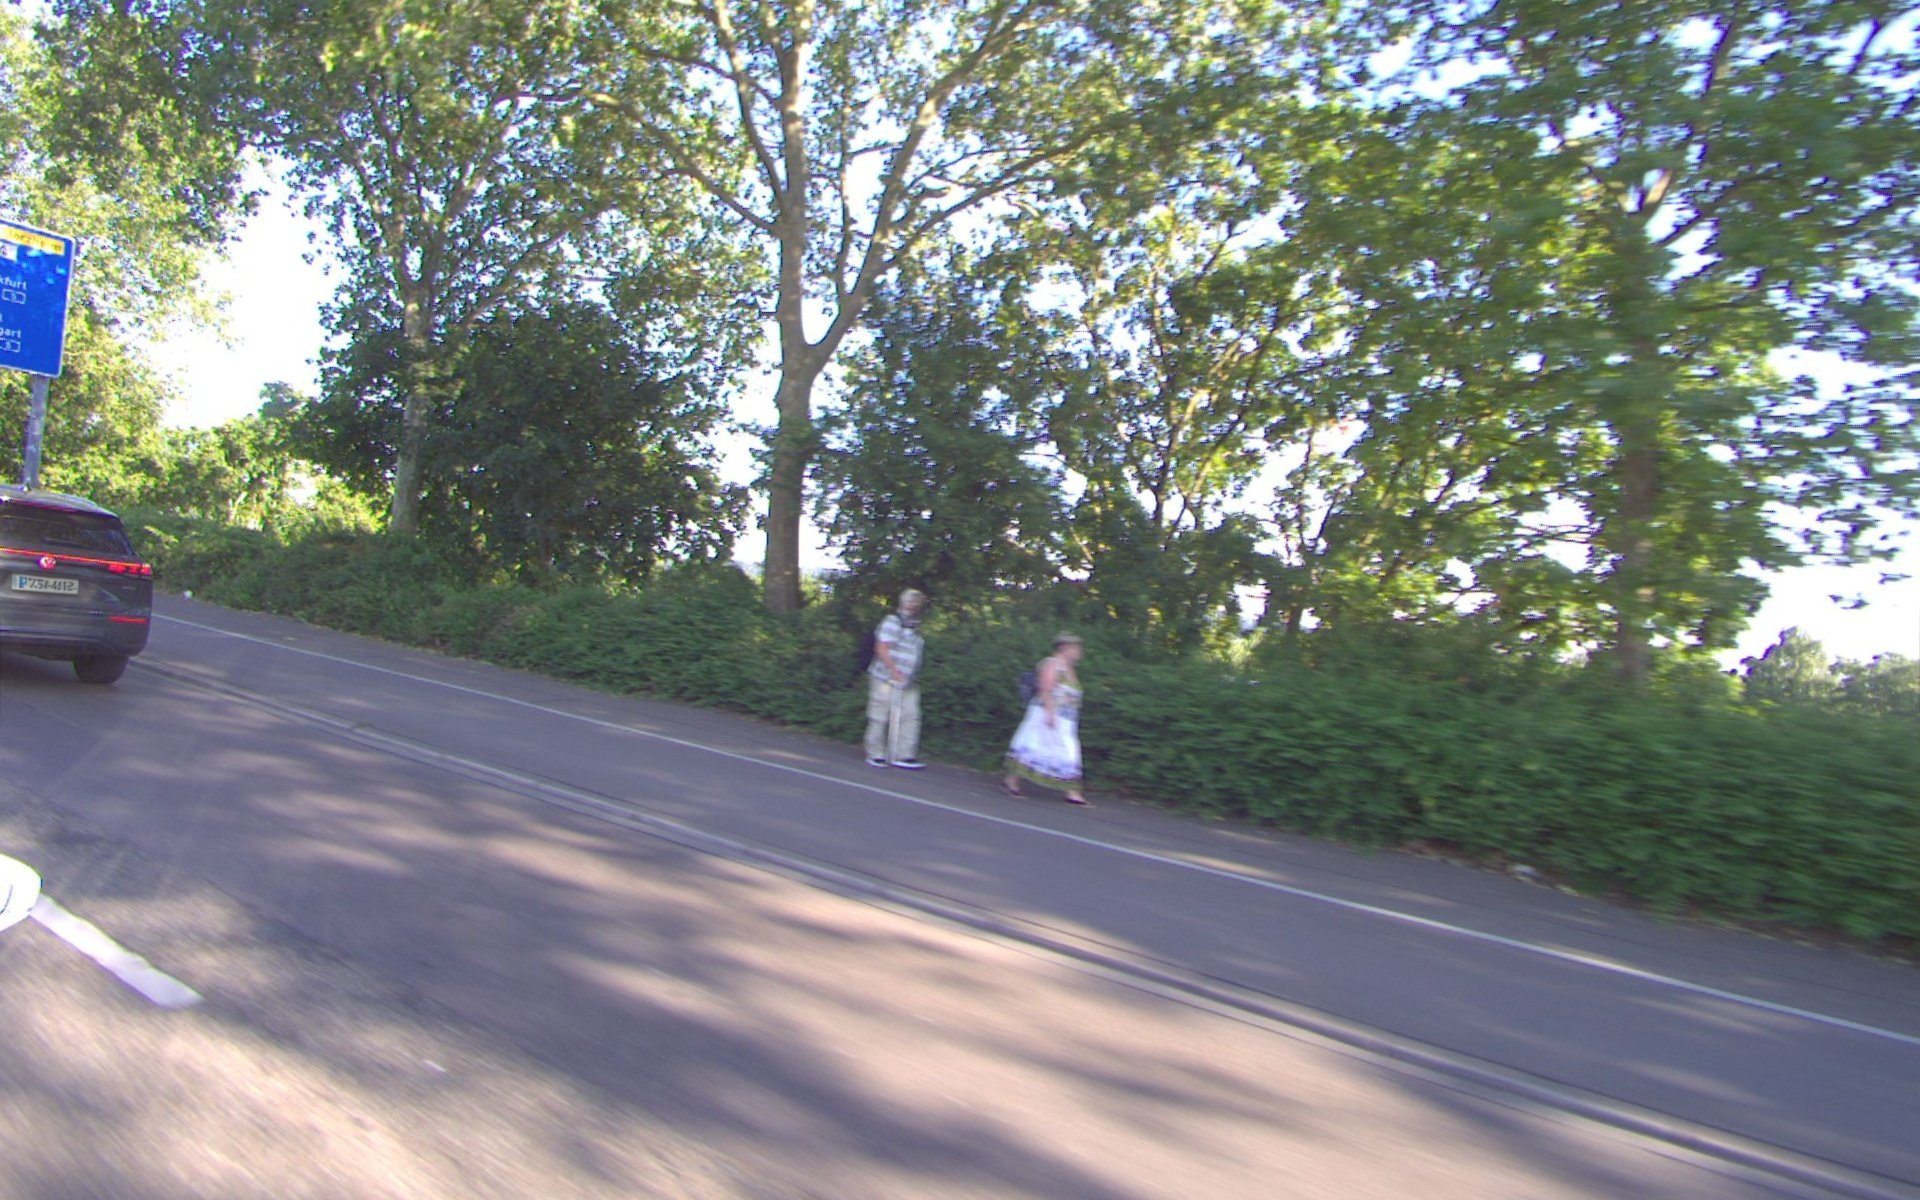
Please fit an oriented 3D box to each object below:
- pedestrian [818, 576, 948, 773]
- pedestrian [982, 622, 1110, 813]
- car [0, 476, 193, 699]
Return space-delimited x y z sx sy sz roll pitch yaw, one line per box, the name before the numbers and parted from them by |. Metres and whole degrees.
pedestrian | -0.729 0.697 9.621 0.799 1.729 0.723 7 1 31
pedestrian | 0.755 0.990 8.734 0.710 1.499 0.724 7 1 31
car | -9.090 -0.284 9.070 4.365 1.680 1.848 7 -2 31
